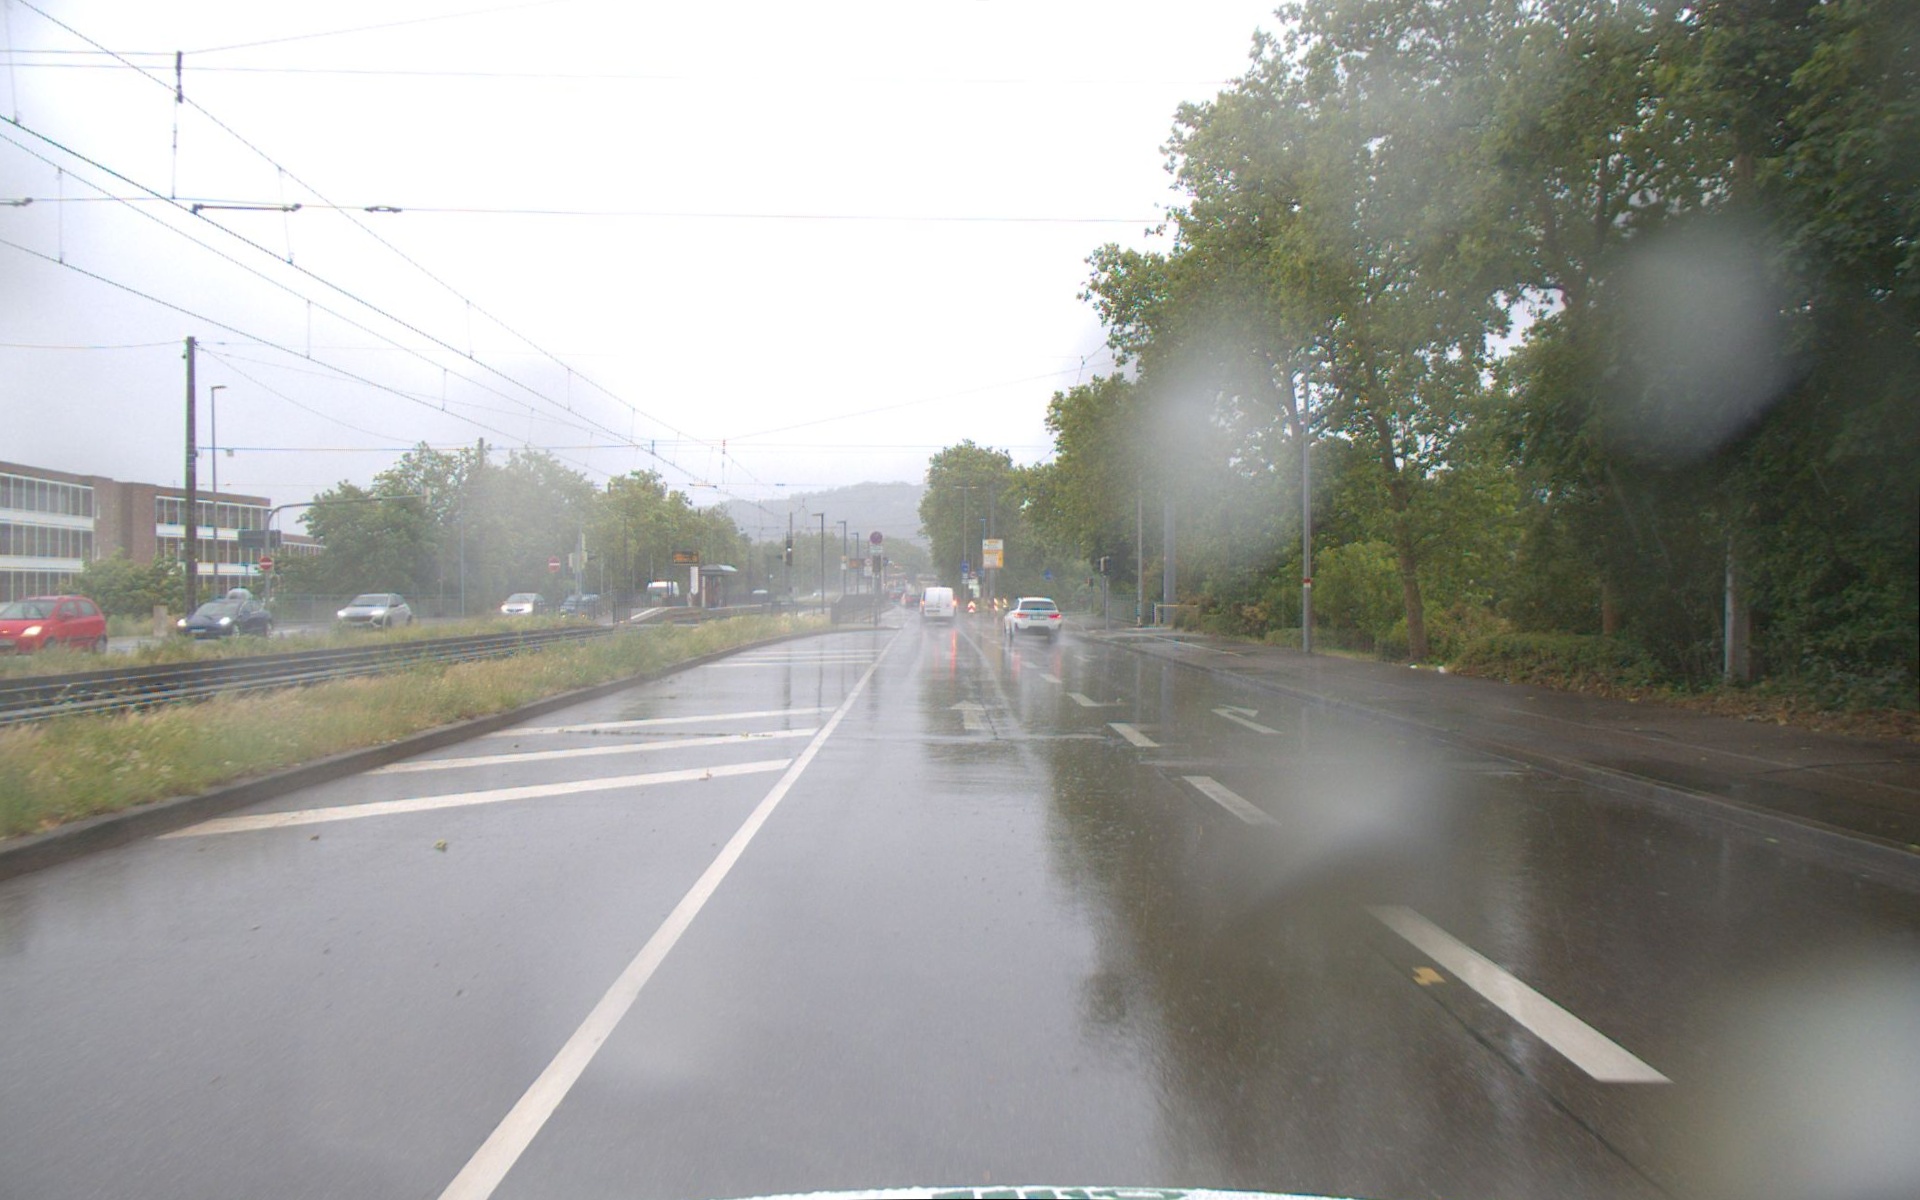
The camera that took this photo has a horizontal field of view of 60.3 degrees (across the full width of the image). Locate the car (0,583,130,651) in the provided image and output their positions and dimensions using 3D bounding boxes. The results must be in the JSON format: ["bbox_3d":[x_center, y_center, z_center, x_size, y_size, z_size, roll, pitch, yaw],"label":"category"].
[{"bbox_3d":[-21.402,0.359,39.042,1.685,1.520,3.999,0,0,-1],"label":"car"}]

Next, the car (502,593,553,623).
[{"bbox_3d":[-22.727,0.382,87.047,1.685,1.520,3.999,0,0,-1],"label":"car"}]

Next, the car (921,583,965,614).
[{"bbox_3d":[-0.805,-0.089,79.064,2.035,1.445,3.999,0,0,-1],"label":"car"}]

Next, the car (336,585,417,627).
[{"bbox_3d":[-21.779,0.191,61.877,1.685,1.520,3.999,0,0,-1],"label":"car"}]

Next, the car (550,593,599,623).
[{"bbox_3d":[-19.953,0.380,85.818,1.685,1.520,3.999,0,0,-1],"label":"car"}]

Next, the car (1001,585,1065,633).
[{"bbox_3d":[2.476,0.301,57.158,1.909,1.563,4.465,0,0,-2],"label":"car"}]

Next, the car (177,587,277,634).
[{"bbox_3d":[-24.889,0.329,56.305,1.685,1.520,3.999,0,0,-1],"label":"car"}]
